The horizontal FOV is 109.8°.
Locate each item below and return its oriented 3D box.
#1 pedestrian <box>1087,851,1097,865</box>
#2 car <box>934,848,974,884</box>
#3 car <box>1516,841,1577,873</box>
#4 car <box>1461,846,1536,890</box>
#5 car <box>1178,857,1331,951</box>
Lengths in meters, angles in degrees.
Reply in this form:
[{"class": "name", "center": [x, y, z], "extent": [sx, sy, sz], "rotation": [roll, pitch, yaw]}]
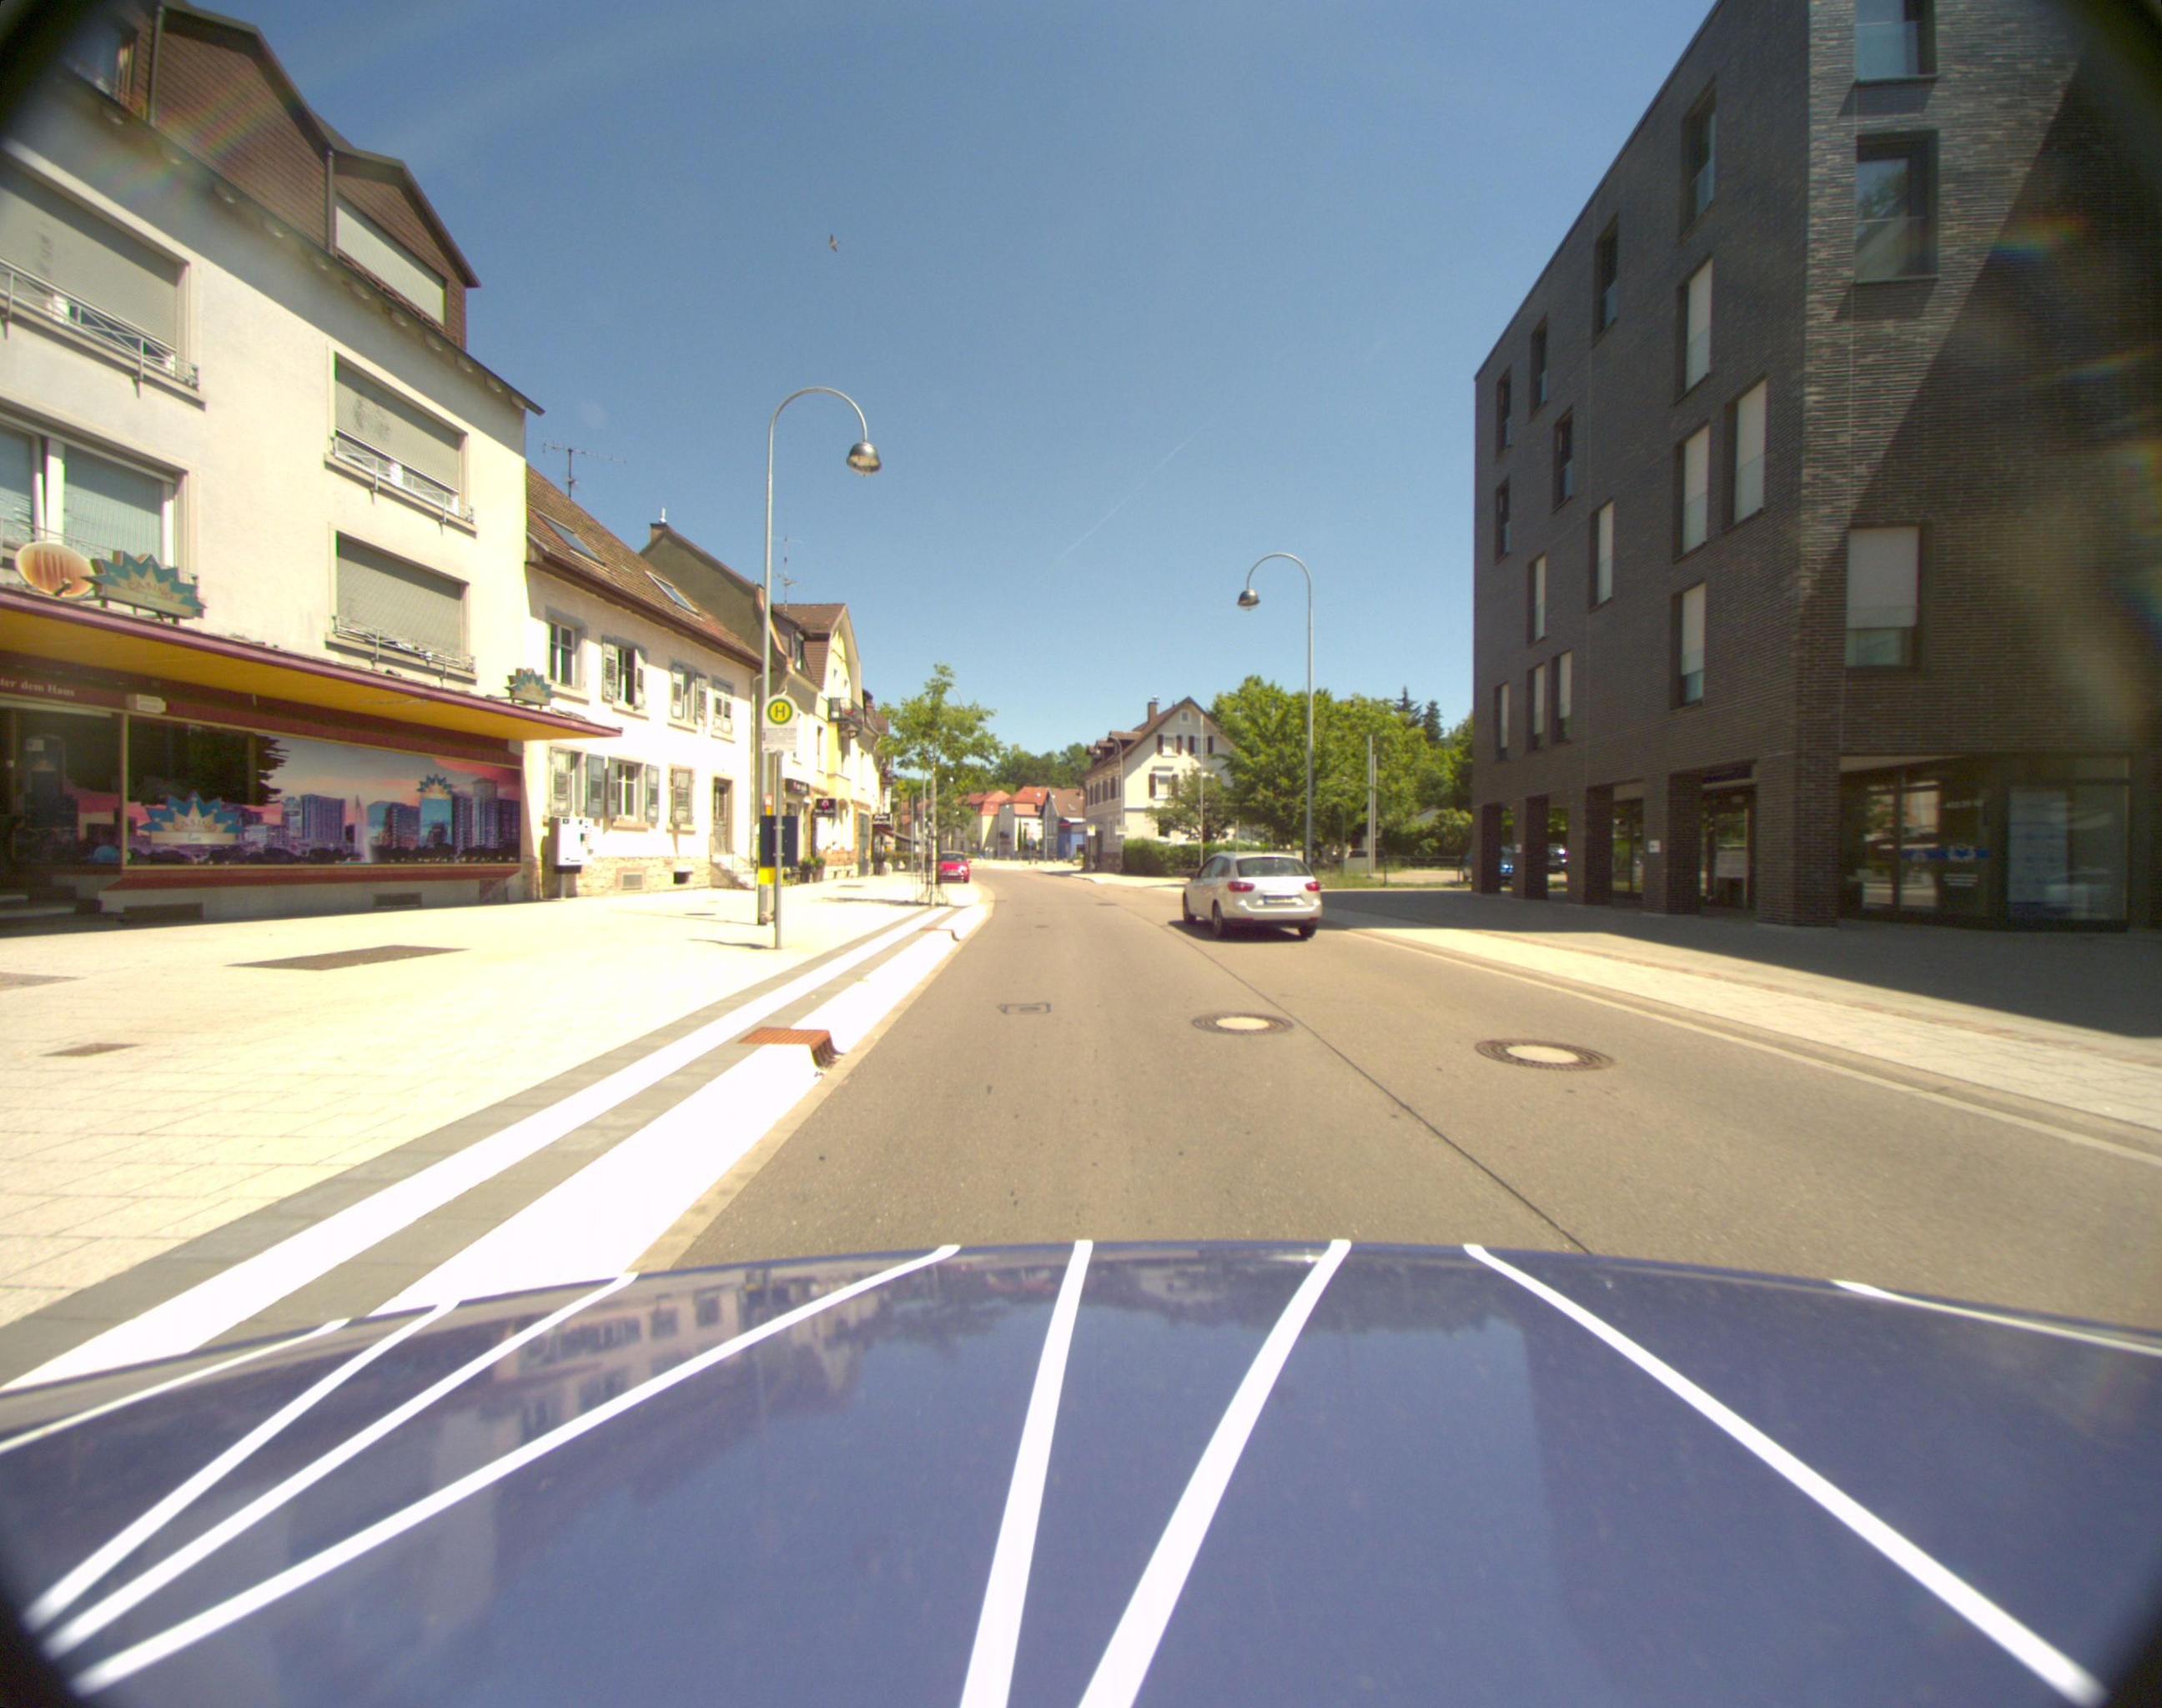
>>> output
[{"class": "pedestrian", "center": [0.846, 0.301, 58.716], "extent": [0.598, 1.053, 0.566], "rotation": [-1, 1, -14]}, {"class": "car", "center": [-6.017, 0.538, 36.293], "extent": [1.684, 1.505, 3.384], "rotation": [4, 0, -7]}, {"class": "car", "center": [22.834, 0.123, 37.422], "extent": [1.687, 1.483, 3.772], "rotation": [-1, 1, 17]}, {"class": "car", "center": [15.335, 0.454, 28.109], "extent": [1.696, 1.477, 4.085], "rotation": [2, 1, 18]}, {"class": "car", "center": [2.937, 0.782, 13.695], "extent": [1.672, 1.388, 3.846], "rotation": [-1, 1, -3]}]
